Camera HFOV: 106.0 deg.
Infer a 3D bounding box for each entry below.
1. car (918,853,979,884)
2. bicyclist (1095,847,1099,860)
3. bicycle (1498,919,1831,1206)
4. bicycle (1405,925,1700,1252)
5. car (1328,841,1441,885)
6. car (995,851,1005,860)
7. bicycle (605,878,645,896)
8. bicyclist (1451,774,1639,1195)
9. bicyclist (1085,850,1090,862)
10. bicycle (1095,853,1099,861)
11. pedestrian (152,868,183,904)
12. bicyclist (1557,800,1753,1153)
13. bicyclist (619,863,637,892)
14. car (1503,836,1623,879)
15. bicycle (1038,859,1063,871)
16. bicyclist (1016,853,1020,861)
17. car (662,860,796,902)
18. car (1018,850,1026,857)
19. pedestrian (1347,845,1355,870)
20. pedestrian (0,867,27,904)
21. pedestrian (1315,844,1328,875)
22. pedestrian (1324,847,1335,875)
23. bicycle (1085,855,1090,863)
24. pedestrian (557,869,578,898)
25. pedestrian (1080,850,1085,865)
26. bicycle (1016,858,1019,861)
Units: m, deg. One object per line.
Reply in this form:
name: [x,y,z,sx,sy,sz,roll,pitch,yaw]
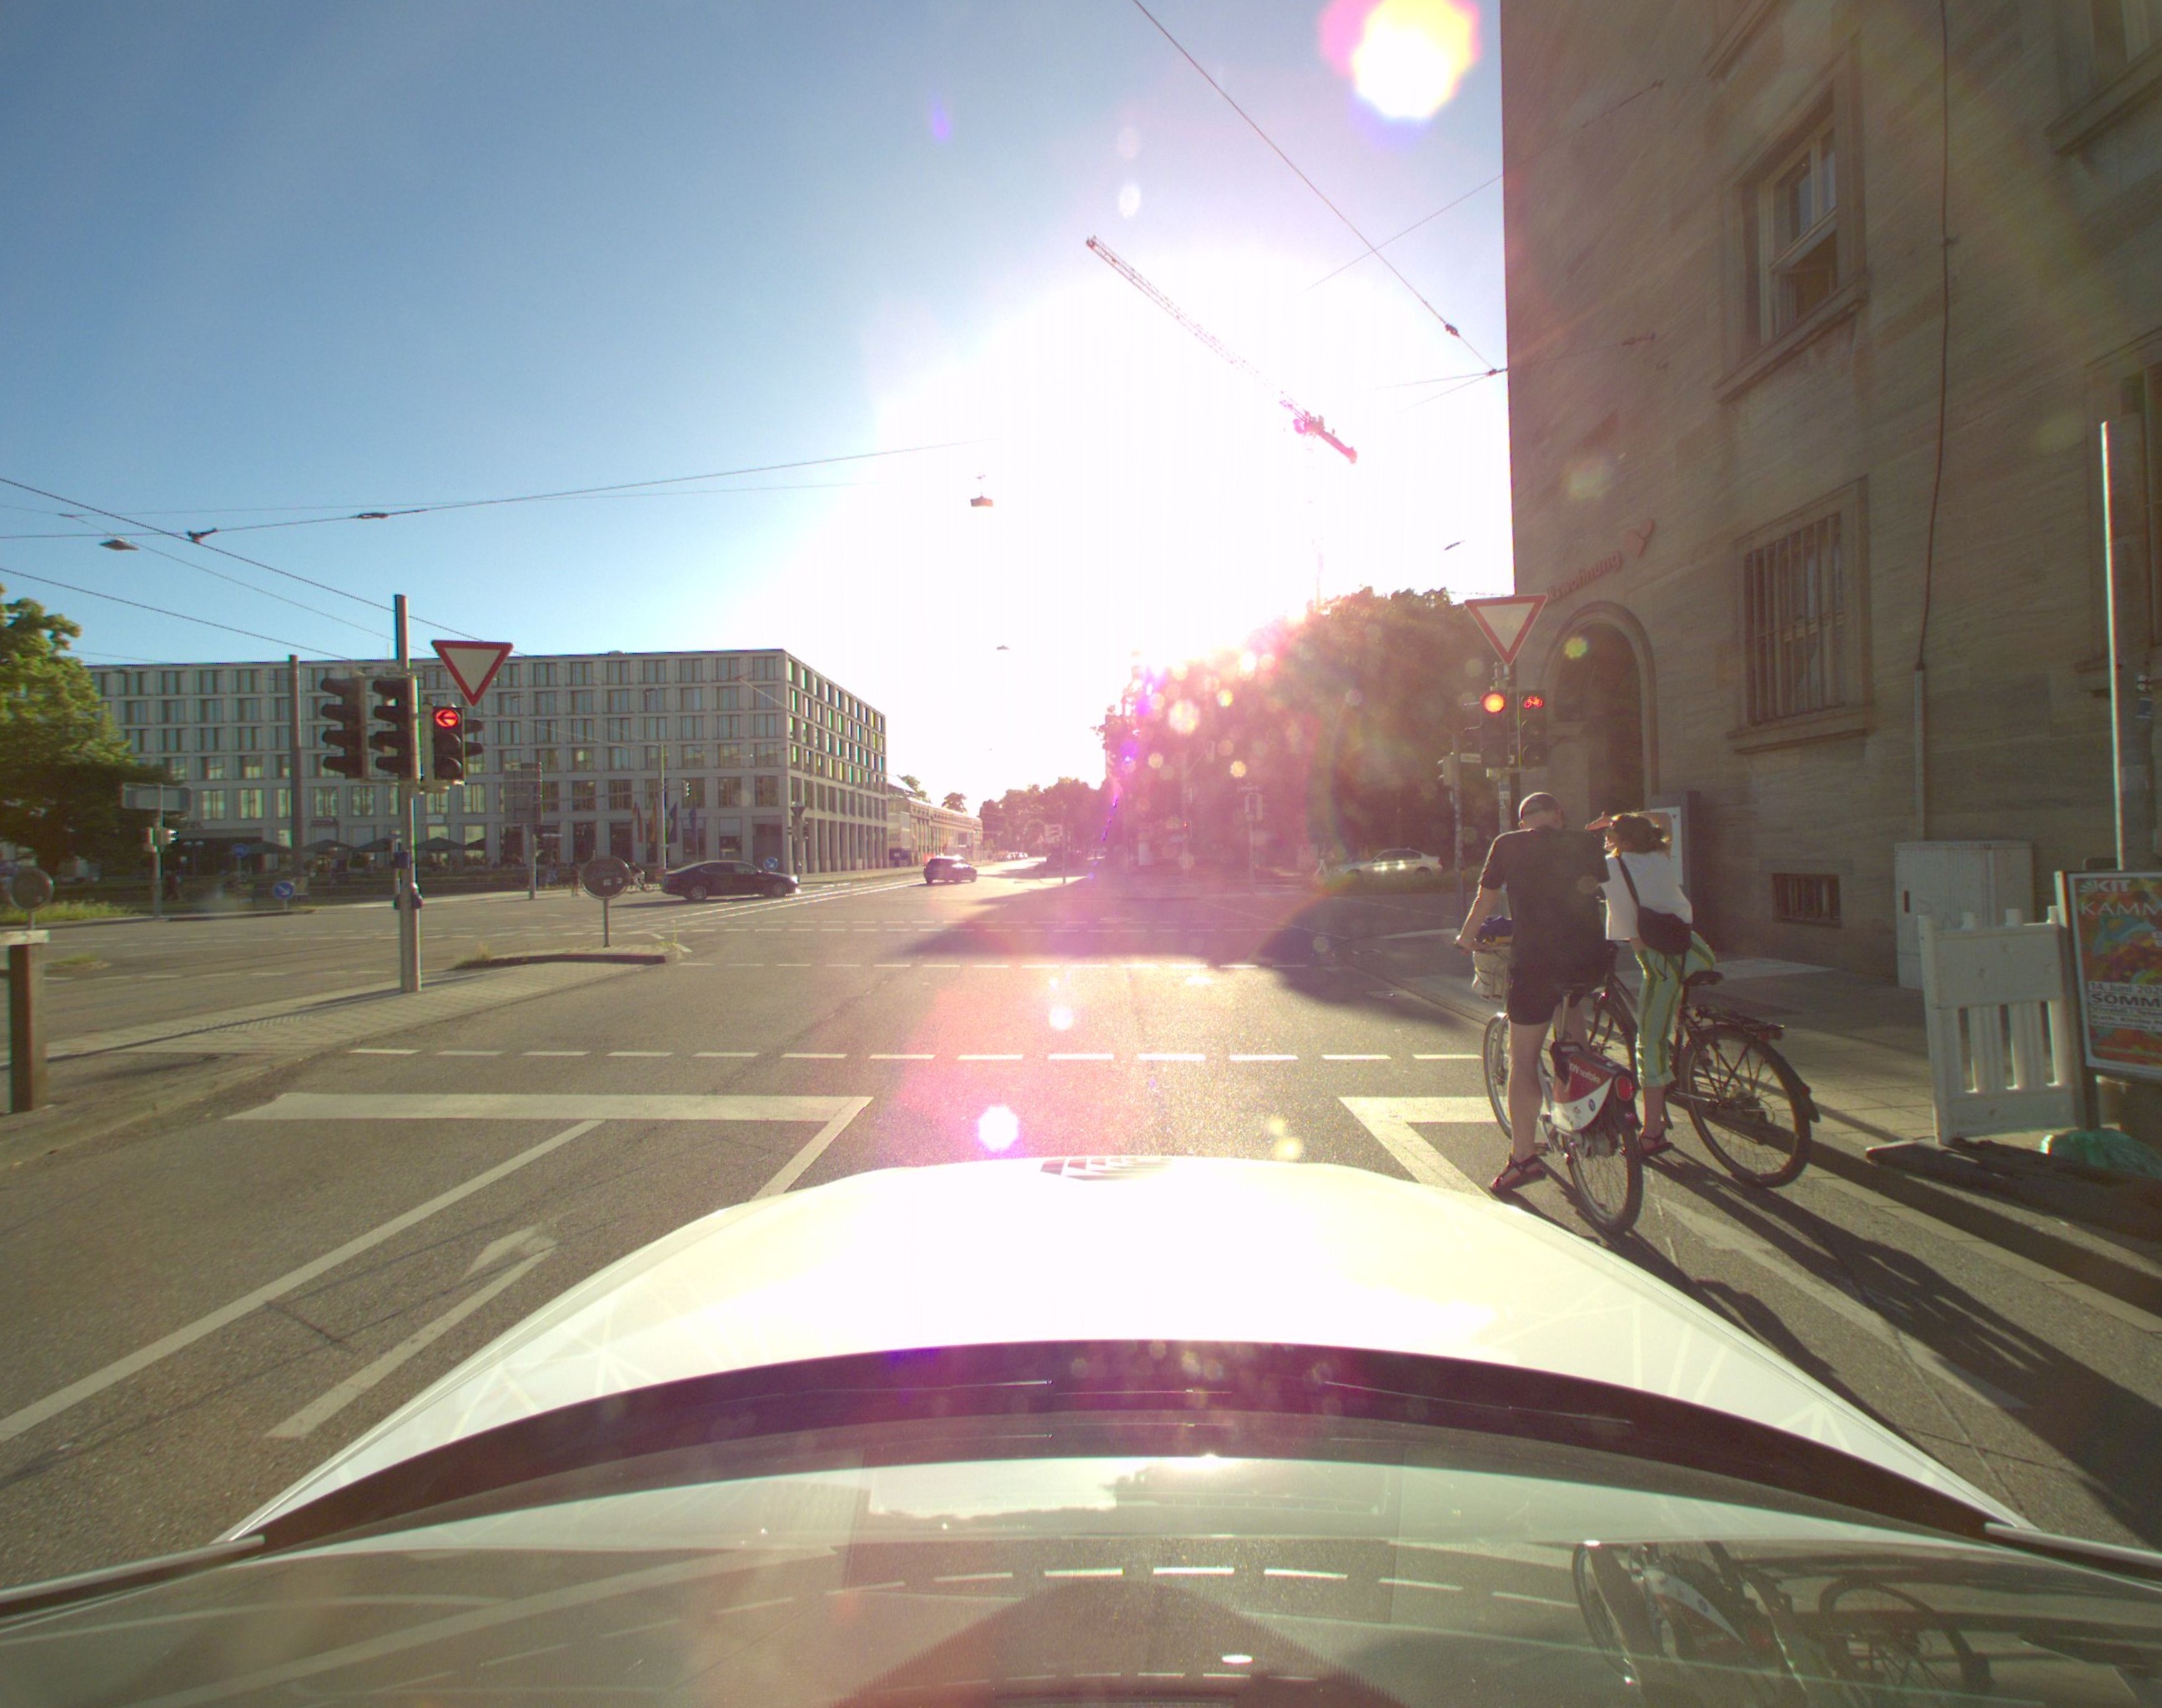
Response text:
car: [-7.253,0.762,45.174,1.881,1.565,4.819,1,0,9]
bicyclist: [2.265,-0.062,114.165,0.567,1.691,0.700,-2,0,1]
bicycle: [2.935,0.957,4.345,0.532,1.077,1.751,-1,0,1]
bicycle: [2.114,0.956,3.929,0.513,1.077,1.729,-1,0,4]
car: [12.343,0.352,33.246,3.979,1.611,1.650,-2,0,1]
car: [-15.653,0.265,157.068,1.688,1.718,4.245,0,-1,-1]
bicycle: [-26.189,1.883,46.791,1.865,0.935,0.757,-2,0,-23]
bicyclist: [2.116,0.560,3.772,0.556,1.799,0.551,-1,0,3]
bicyclist: [0.902,0.305,114.158,0.567,1.691,0.700,-2,0,1]
bicycle: [2.260,0.442,114.172,0.573,1.077,1.831,-2,0,1]
pedestrian: [-50.025,1.738,44.599,0.711,1.900,0.877,-1,-1,10]
bicyclist: [2.946,0.590,4.239,0.556,1.691,0.640,-1,0,0]
bicyclist: [-26.072,1.349,46.849,0.778,1.589,0.756,-2,0,-23]
car: [19.444,0.138,32.965,3.835,1.611,1.650,-2,0,1]
bicycle: [-2.569,0.906,67.697,1.996,0.891,0.655,-4,-1,29]
bicyclist: [-11.603,0.510,149.364,0.594,1.377,0.637,0,-1,0]
car: [-13.253,0.974,30.765,4.448,1.455,1.648,-1,0,-33]
car: [-14.218,-0.116,195.317,1.688,1.718,4.245,0,-1,-1]
pedestrian: [14.347,0.204,43.287,0.316,1.316,0.345,0,1,4]
pedestrian: [-59.480,1.738,45.237,0.838,2.014,0.826,0,-1,5]
pedestrian: [12.879,0.306,43.603,0.580,1.663,0.515,0,1,4]
pedestrian: [13.547,0.363,44.387,0.437,1.503,0.437,-2,0,3]
bicycle: [0.923,0.705,114.144,0.573,1.077,1.831,-2,0,1]
pedestrian: [-28.678,1.621,45.505,0.775,1.589,0.589,-2,0,-11]
pedestrian: [0.162,0.386,98.434,0.462,1.813,0.502,-2,0,-3]
bicycle: [-11.593,1.028,149.324,0.499,0.515,1.258,0,-1,1]
